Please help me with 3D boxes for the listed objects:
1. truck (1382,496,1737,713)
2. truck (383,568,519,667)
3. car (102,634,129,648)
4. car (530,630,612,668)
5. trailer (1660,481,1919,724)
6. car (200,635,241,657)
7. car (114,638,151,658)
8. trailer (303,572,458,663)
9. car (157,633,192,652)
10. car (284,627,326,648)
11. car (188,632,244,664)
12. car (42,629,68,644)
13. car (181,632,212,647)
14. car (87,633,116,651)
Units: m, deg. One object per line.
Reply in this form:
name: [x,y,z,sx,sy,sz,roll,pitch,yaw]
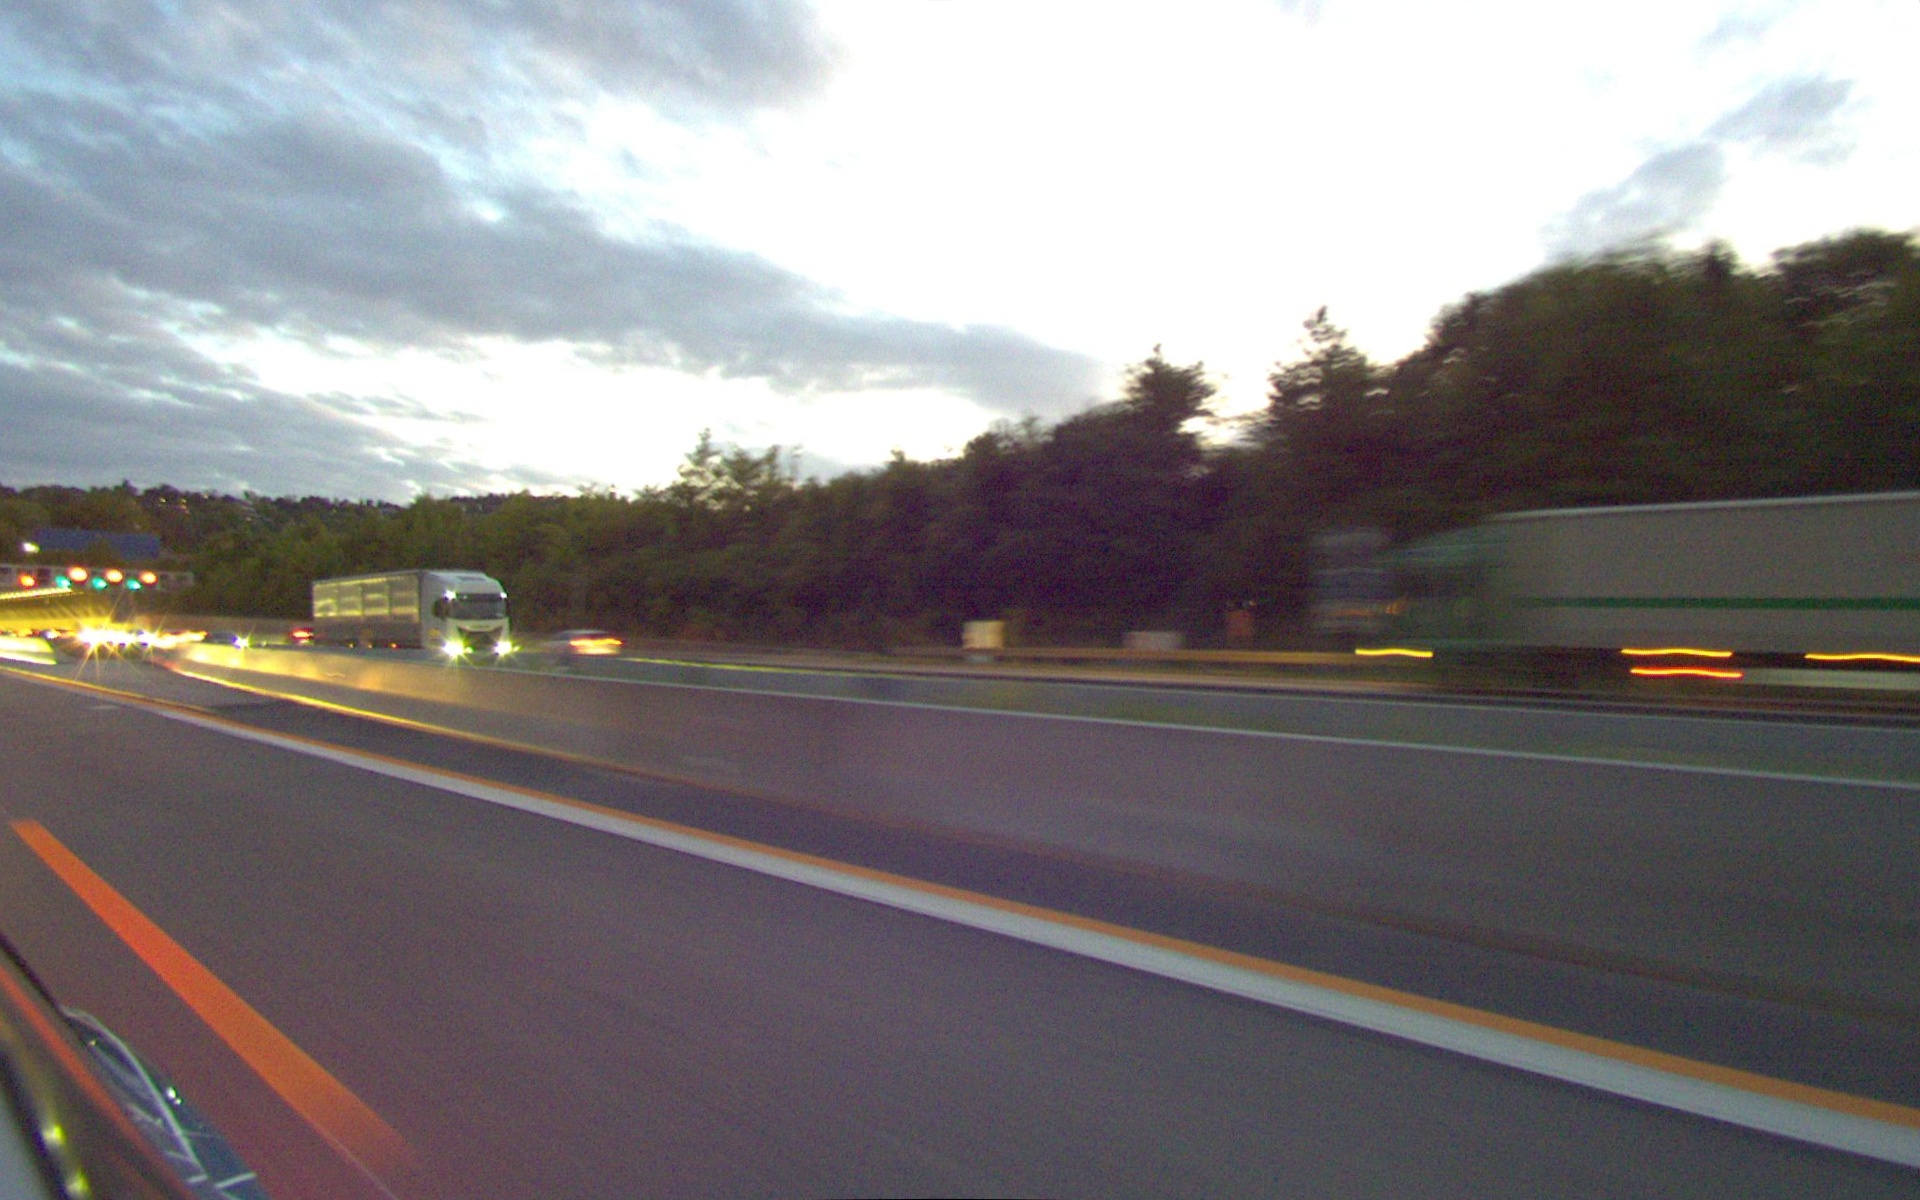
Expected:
truck: [13.288,0.102,22.774,6.387,4.202,2.746,-1,0,44]
truck: [-21.172,0.706,41.951,6.298,3.803,2.774,-1,0,40]
car: [-100.621,4.881,120.533,4.699,1.496,1.791,-1,0,41]
car: [-18.428,2.274,47.850,5.034,1.616,1.574,-1,0,43]
trailer: [19.442,-0.008,16.948,12.404,4.237,2.748,-1,0,44]
car: [-61.248,3.790,83.767,4.750,1.650,1.785,-1,0,42]
car: [-68.934,3.954,84.320,3.998,1.492,1.769,-1,0,41]
trailer: [-27.425,0.789,47.503,11.833,3.811,2.769,-1,0,42]
car: [-72.168,3.897,92.954,4.750,1.650,1.661,-1,0,42]
car: [-55.790,3.181,86.148,4.750,1.650,1.785,-1,0,42]
car: [-49.879,3.179,67.803,4.698,1.898,2.069,-1,0,41]
car: [-115.245,4.650,128.872,4.806,1.751,1.881,-1,0,41]
car: [-83.784,4.333,111.098,4.699,1.496,1.806,-1,0,41]
car: [-79.260,3.840,93.411,3.823,1.492,1.490,-1,0,41]
